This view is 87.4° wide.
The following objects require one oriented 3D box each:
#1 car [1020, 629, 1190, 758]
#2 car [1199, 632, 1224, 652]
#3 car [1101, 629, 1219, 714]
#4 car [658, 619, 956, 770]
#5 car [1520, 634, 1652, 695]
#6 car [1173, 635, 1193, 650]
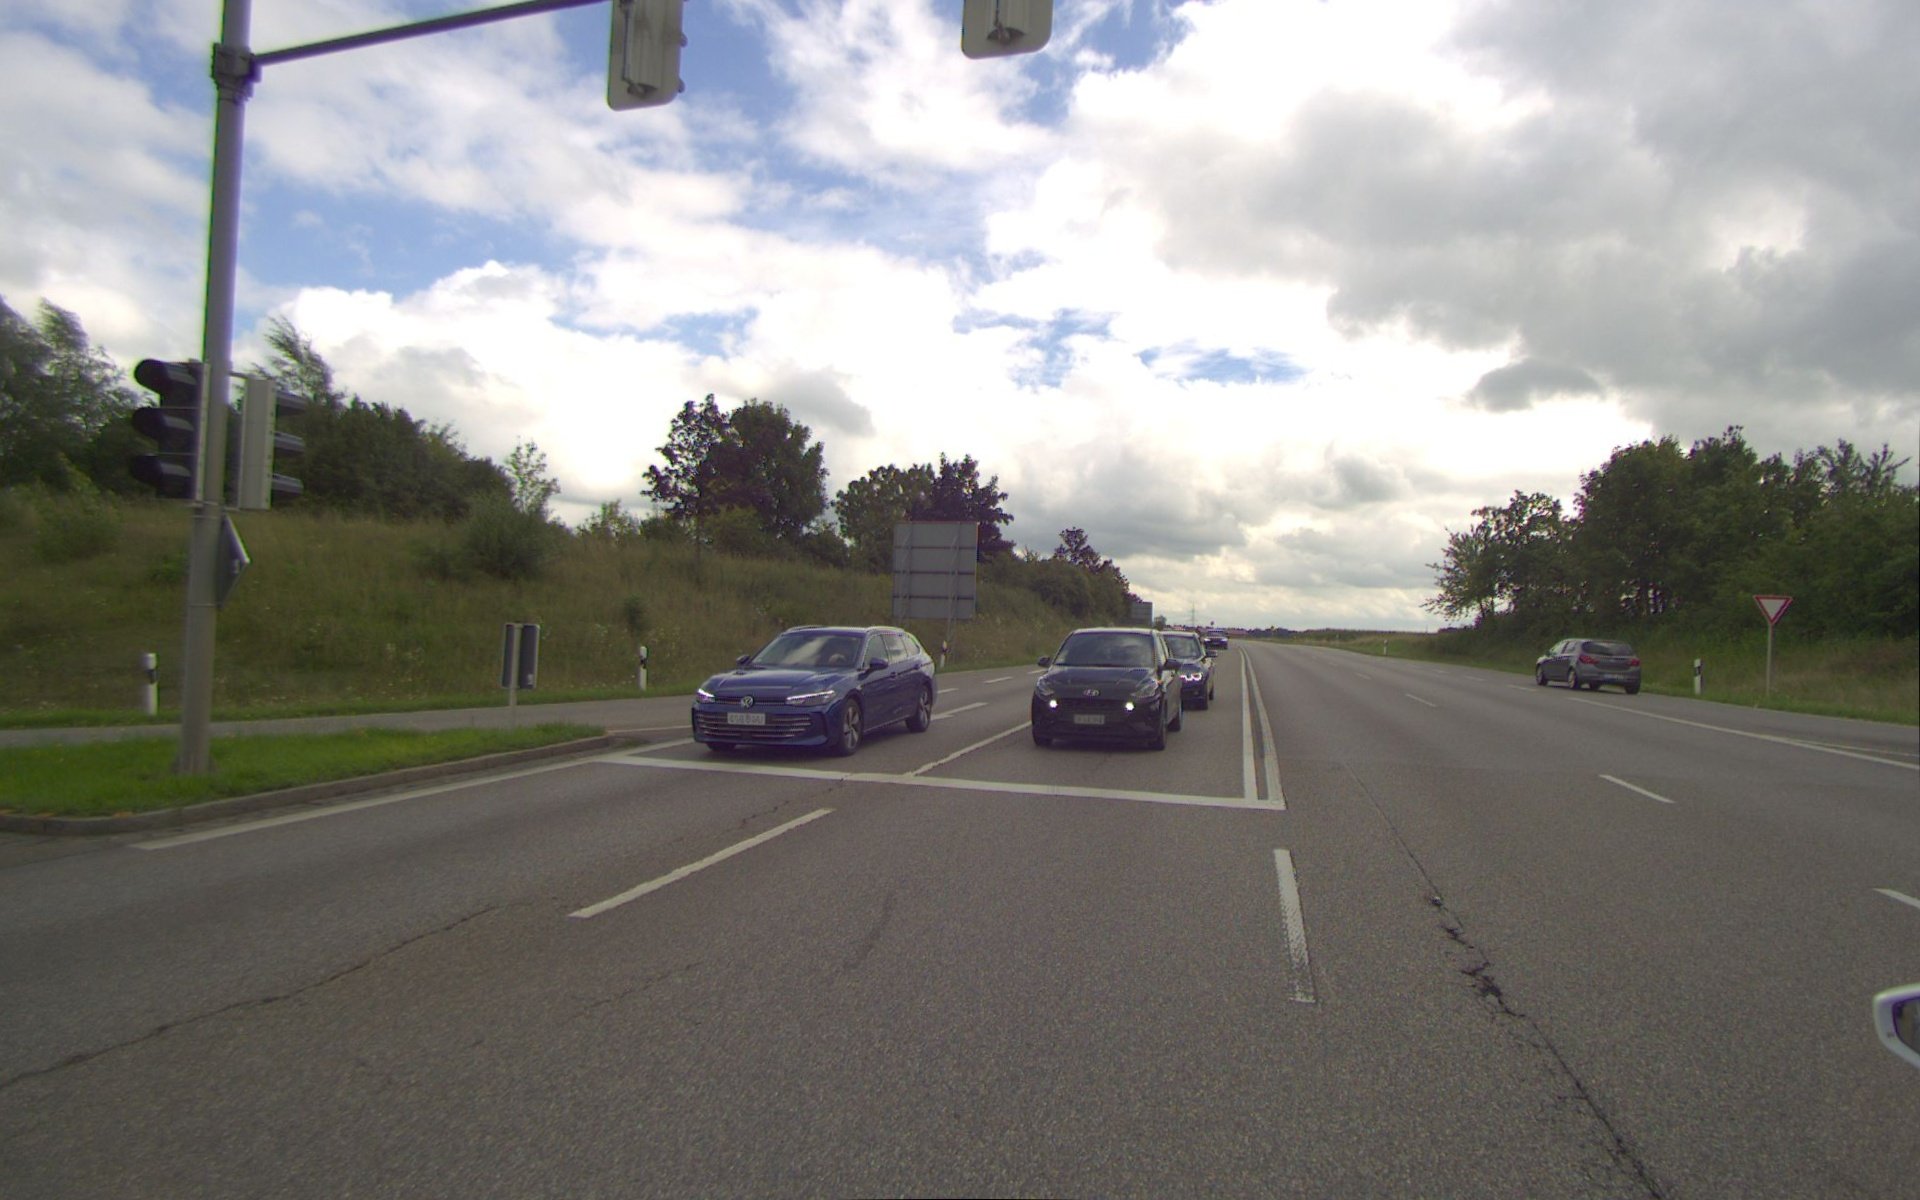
[{"bbox_3d":[2.130,1.147,13.774,1.697,1.462,3.945,0,-1,17],"label":"car"},{"bbox_3d":[19.107,3.159,76.332,1.735,1.401,4.546,1,-1,14],"label":"car"},{"bbox_3d":[4.225,1.359,20.634,2.014,1.503,4.884,0,-2,16],"label":"car"},{"bbox_3d":[-1.699,1.070,13.296,2.010,1.555,5.129,1,-1,15],"label":"car"},{"bbox_3d":[18.246,1.826,29.499,1.959,1.555,4.003,2,-1,11],"label":"car"},{"bbox_3d":[23.947,4.538,107.714,1.959,1.514,4.996,1,-1,13],"label":"car"}]
